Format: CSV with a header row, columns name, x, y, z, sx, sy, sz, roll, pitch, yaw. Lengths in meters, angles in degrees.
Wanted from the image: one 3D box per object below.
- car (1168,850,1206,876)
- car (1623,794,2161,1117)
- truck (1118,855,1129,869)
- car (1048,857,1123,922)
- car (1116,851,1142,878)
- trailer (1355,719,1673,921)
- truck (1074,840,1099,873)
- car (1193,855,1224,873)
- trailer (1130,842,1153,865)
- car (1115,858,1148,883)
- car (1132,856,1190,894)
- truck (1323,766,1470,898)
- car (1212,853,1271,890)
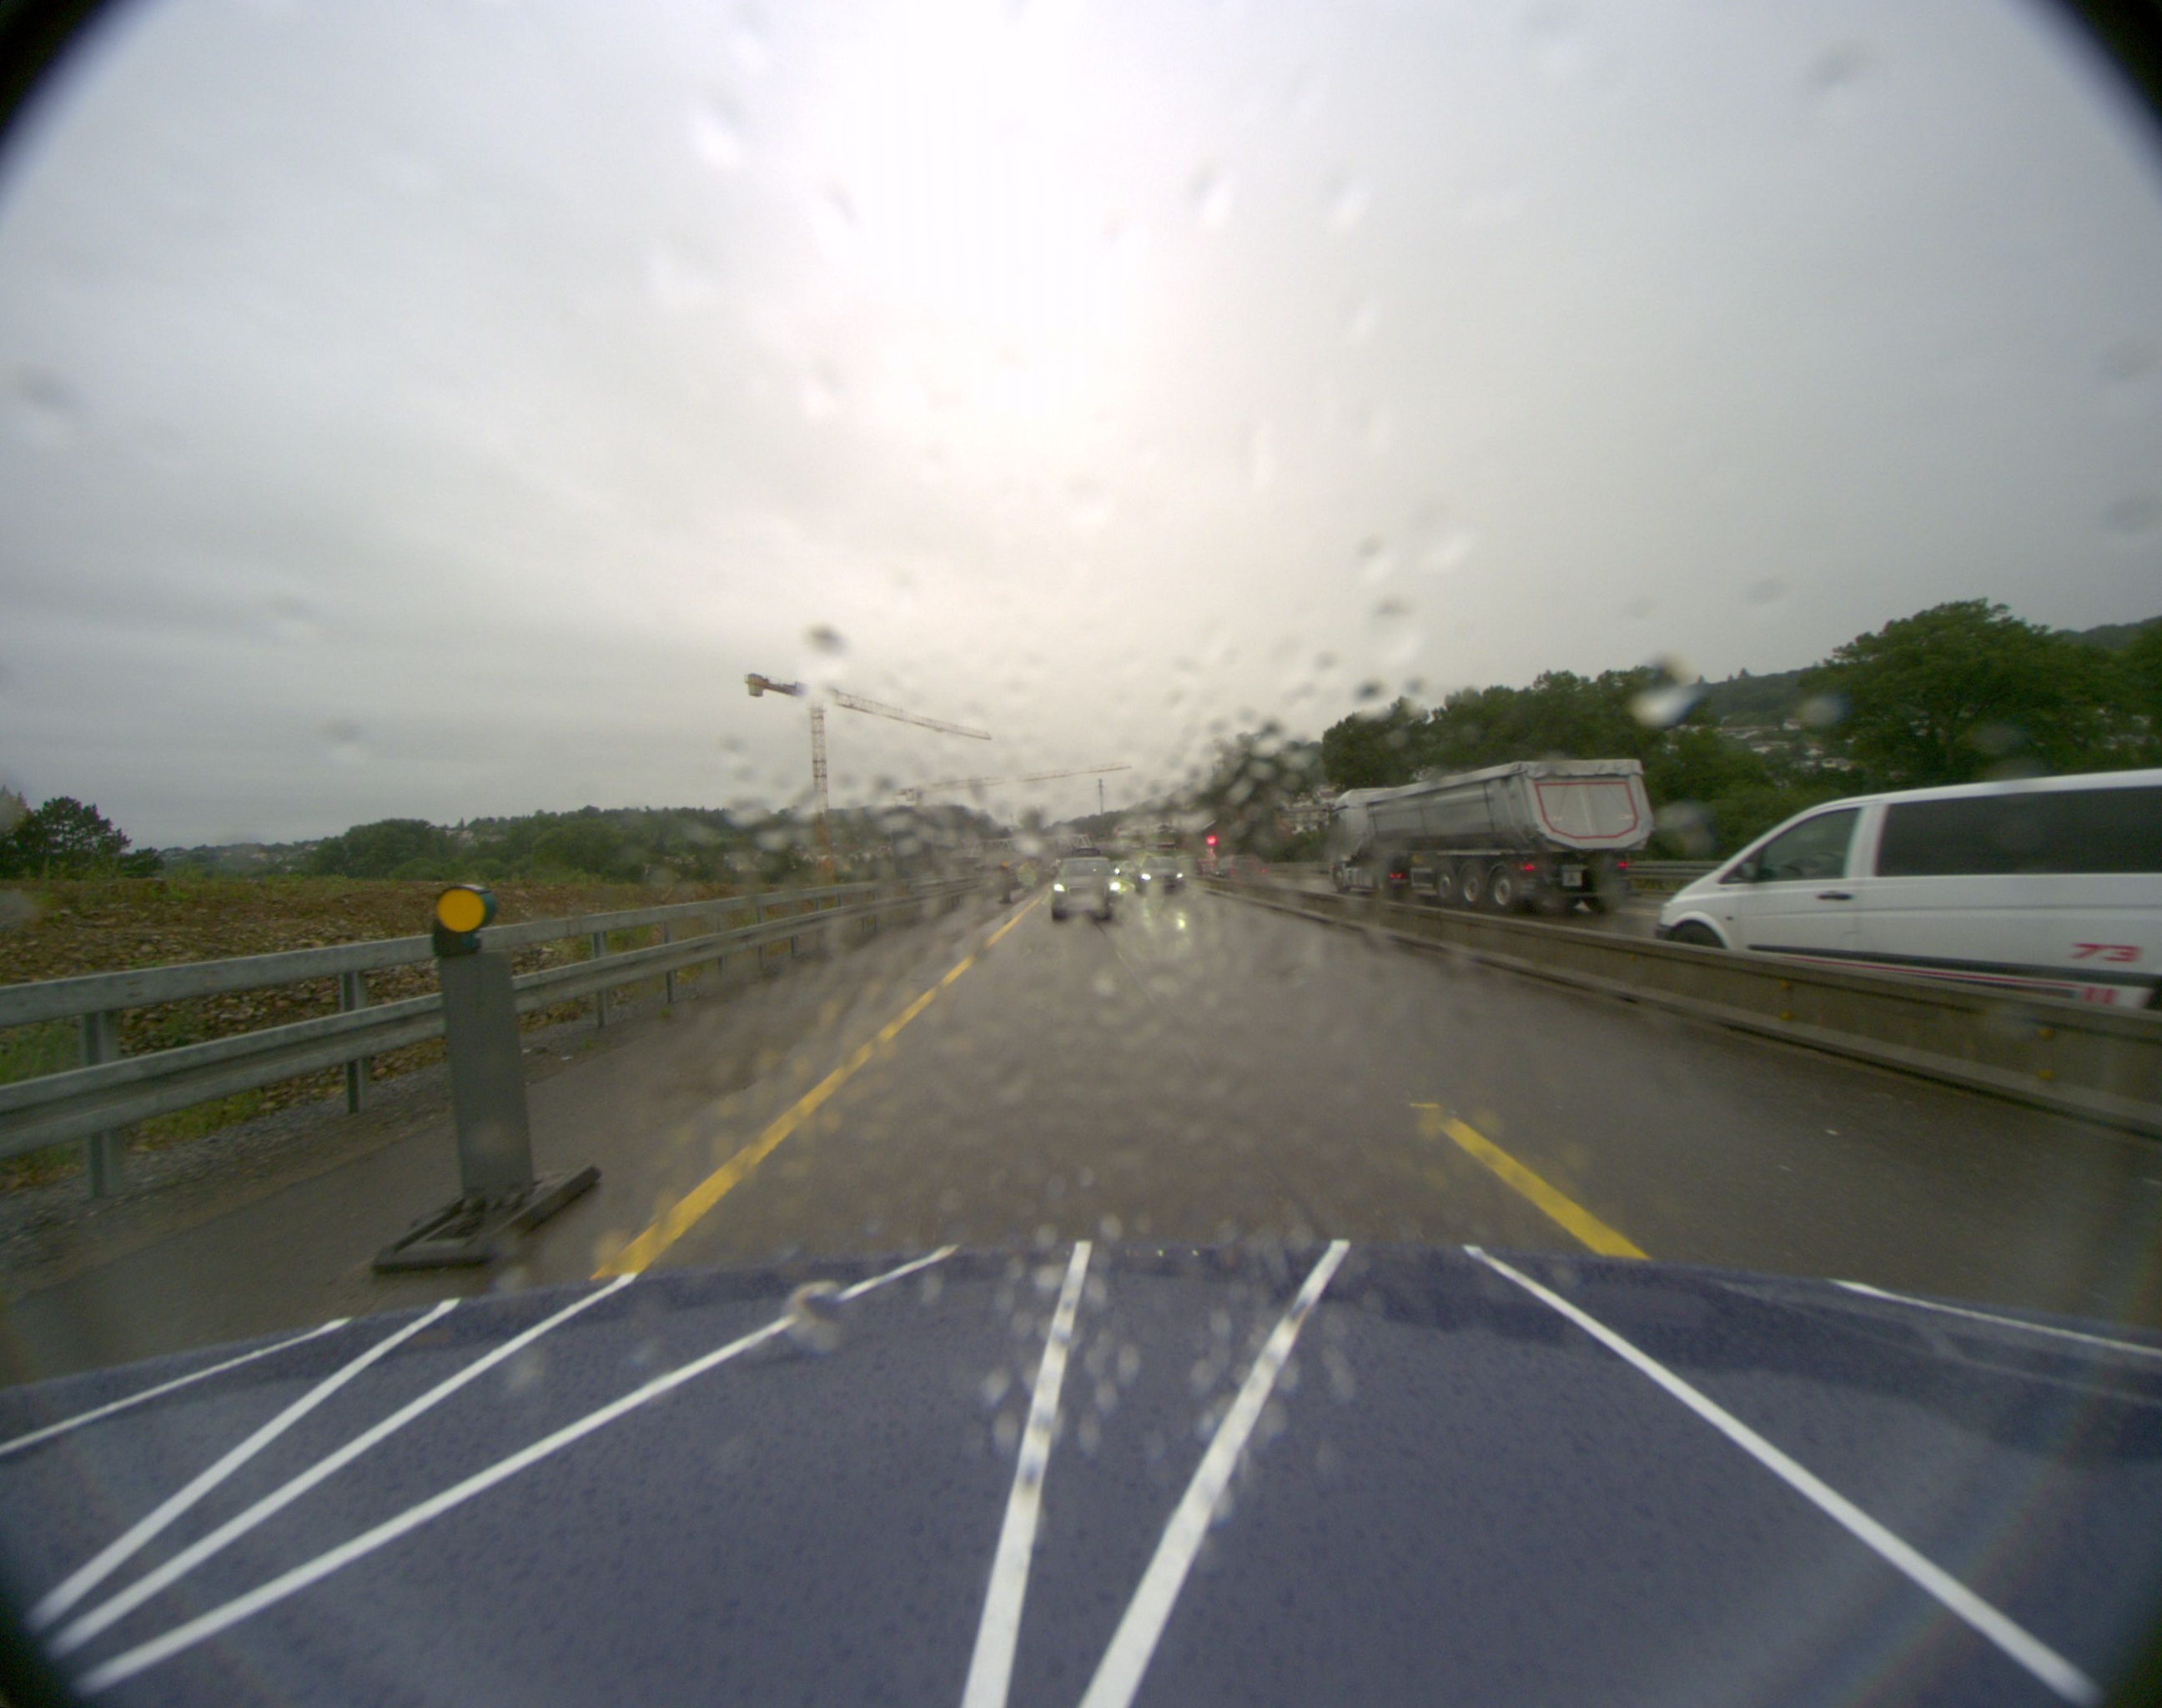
name,x,y,z,sx,sy,sz,roll,pitch,yaw
car,7.309,0.598,52.589,1.998,1.645,4.470,-1,0,0
car,6.883,0.534,5.633,1.879,1.782,5.359,-2,0,0
truck,11.107,2.137,198.943,2.608,3.605,6.539,-2,0,1
car,0.131,0.879,20.681,1.781,1.514,4.140,-2,0,1
car,3.837,0.835,60.627,1.998,2.001,4.002,-2,-1,4
trailer,10.293,-0.656,19.865,2.693,3.940,9.819,-1,0,0
truck,0.658,0.318,84.556,2.576,3.450,6.627,-2,0,1
car,11.313,0.887,67.656,1.851,1.567,4.270,0,-1,-4
trailer,11.177,-0.069,141.003,3.285,3.885,13.701,-2,-1,1
car,3.111,0.982,47.459,1.781,1.430,4.483,-2,0,1
car,3.289,0.831,32.076,1.951,1.430,4.483,-2,0,1
truck,10.266,-0.647,25.331,2.693,3.904,5.273,-1,0,0
car,6.922,0.729,33.169,1.714,1.445,4.000,-2,0,0
